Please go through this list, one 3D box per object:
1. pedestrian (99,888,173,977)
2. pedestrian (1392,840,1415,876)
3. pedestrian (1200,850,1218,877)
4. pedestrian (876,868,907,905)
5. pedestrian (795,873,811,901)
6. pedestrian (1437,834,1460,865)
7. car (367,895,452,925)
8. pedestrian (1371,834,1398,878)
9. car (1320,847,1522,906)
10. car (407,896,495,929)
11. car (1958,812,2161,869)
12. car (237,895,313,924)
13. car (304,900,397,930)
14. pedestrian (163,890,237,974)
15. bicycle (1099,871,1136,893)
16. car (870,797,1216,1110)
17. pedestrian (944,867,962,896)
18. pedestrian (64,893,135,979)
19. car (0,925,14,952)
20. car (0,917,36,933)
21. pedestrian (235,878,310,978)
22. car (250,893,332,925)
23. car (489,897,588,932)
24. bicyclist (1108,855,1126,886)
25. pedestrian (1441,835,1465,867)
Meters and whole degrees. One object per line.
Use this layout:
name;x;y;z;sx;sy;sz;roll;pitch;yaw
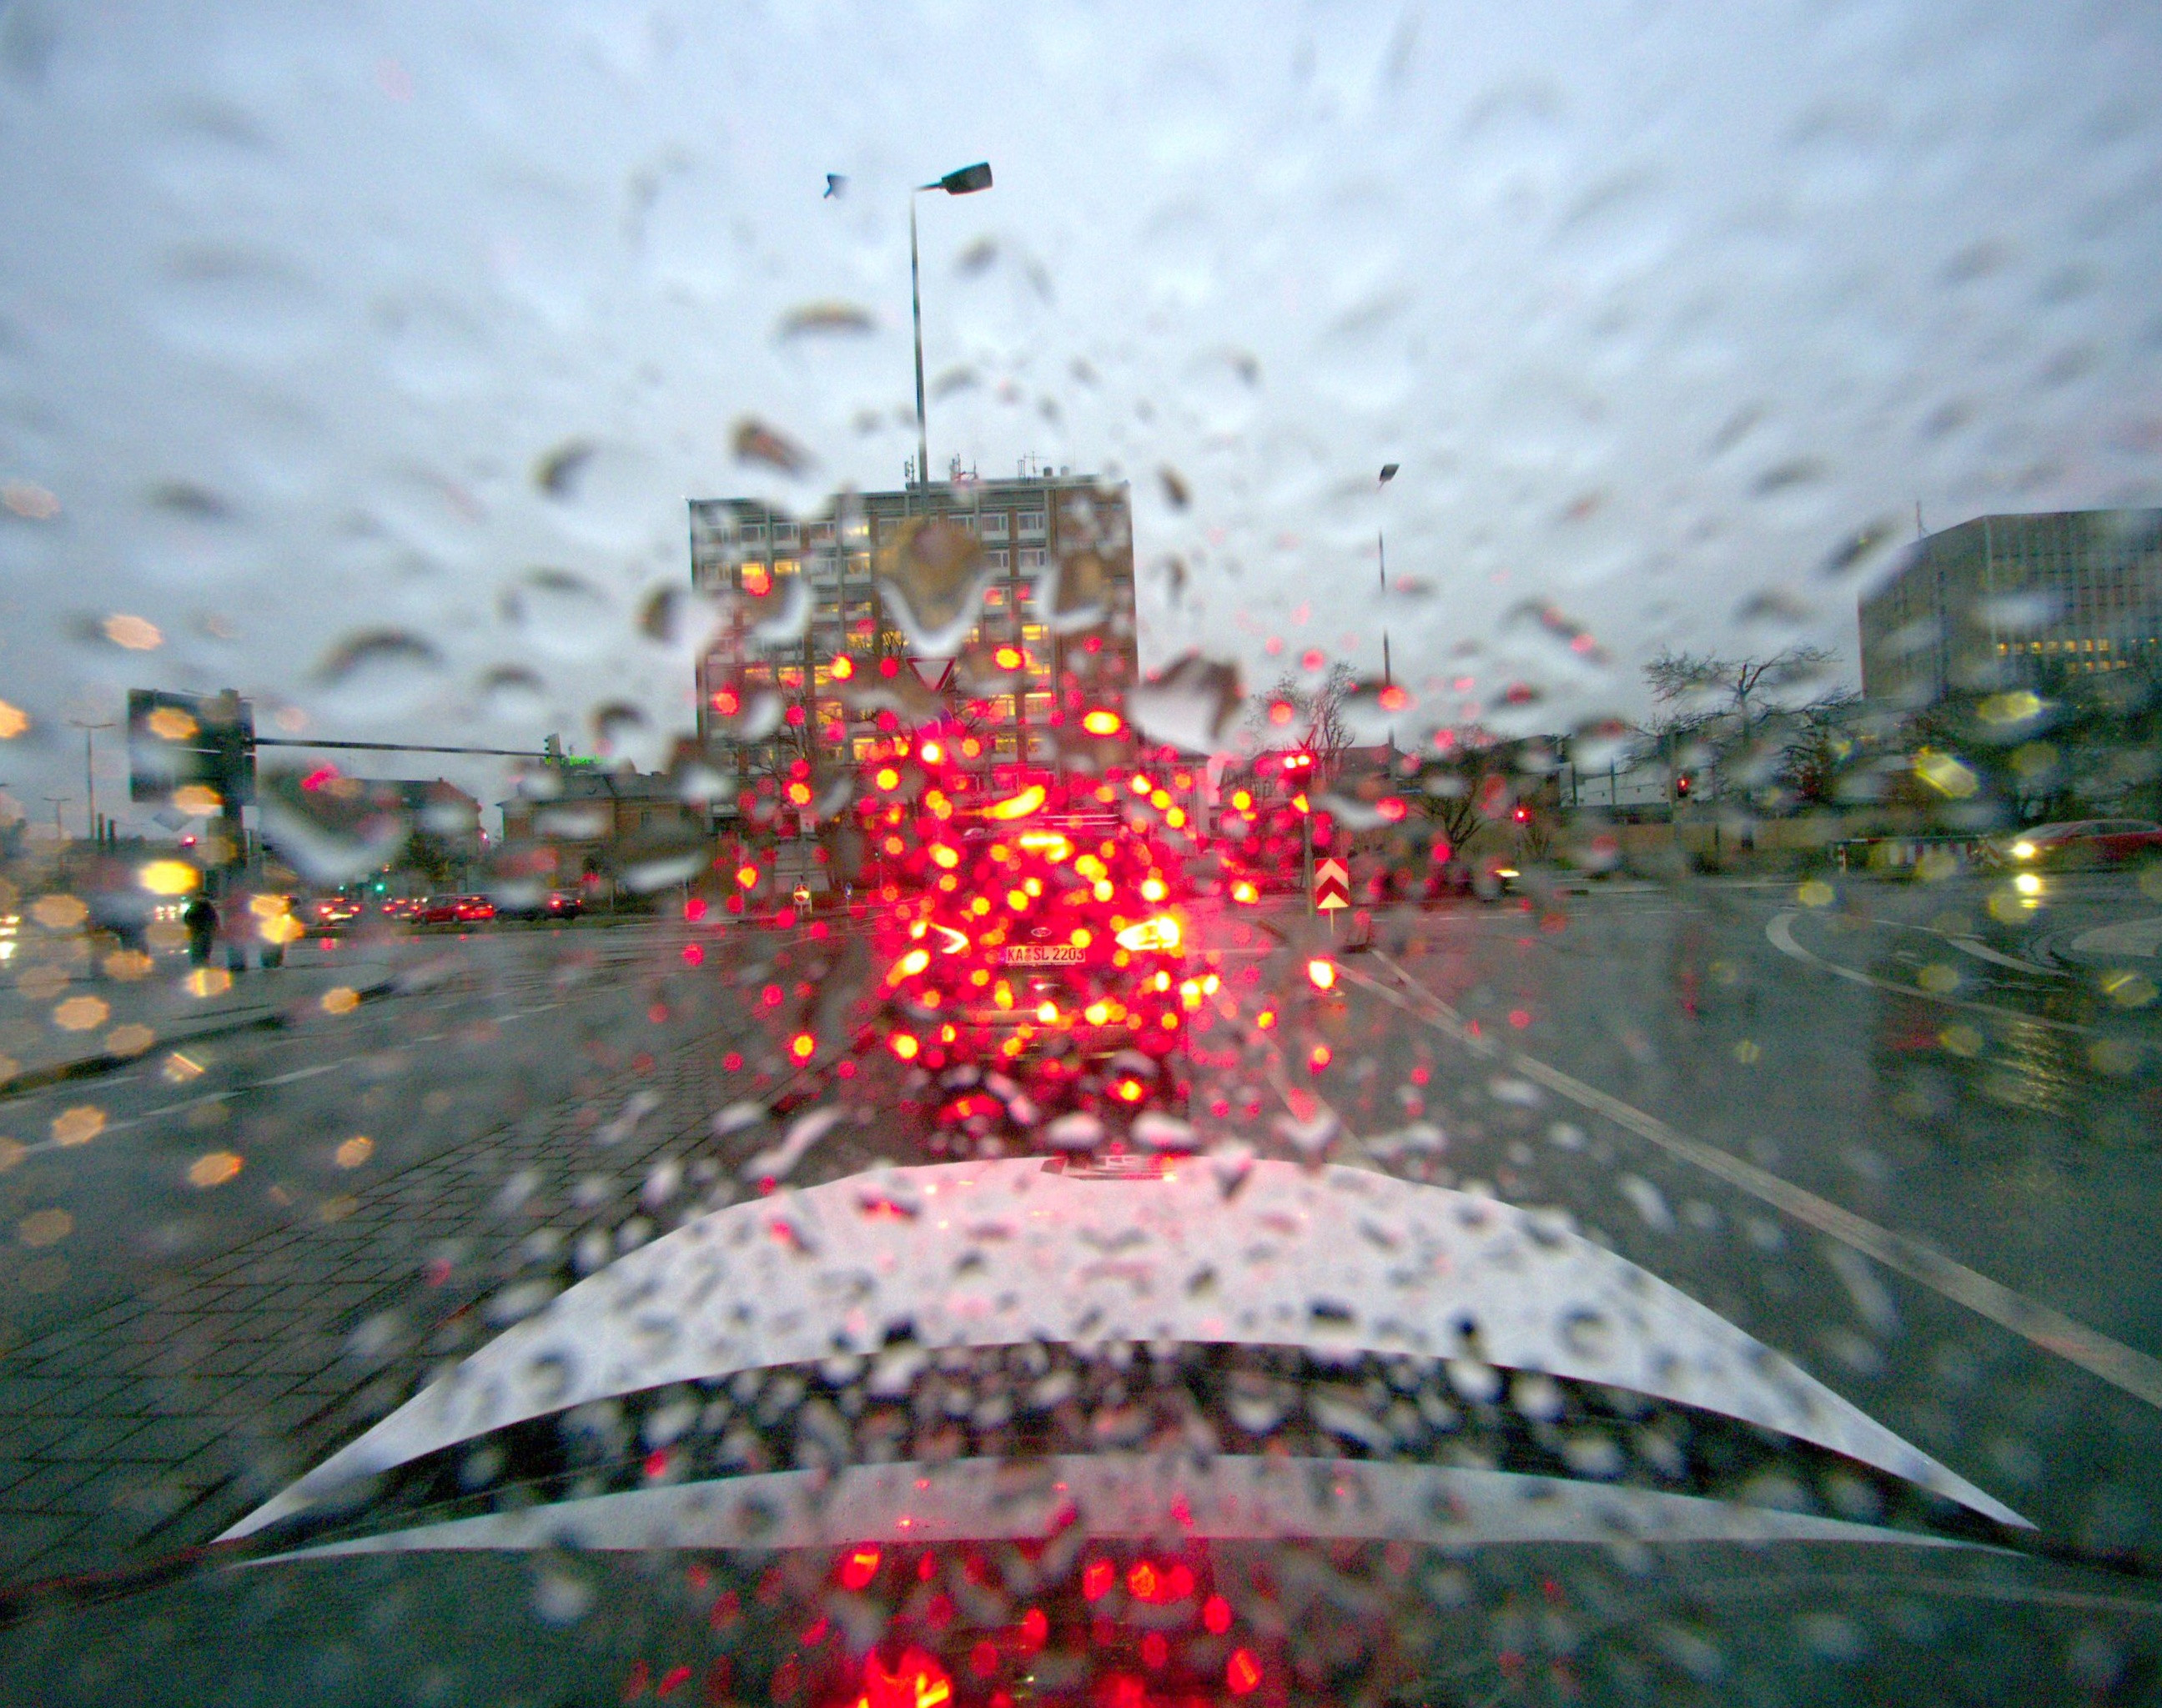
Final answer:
pedestrian;-20.821;1.711;17.952;0.733;1.838;0.674;-3;0;-11
pedestrian;16.748;0.192;42.283;0.988;1.799;0.924;-3;0;19
pedestrian;8.138;0.617;51.806;0.712;1.628;0.767;-3;0;43
pedestrian;-10.059;1.718;43.264;0.992;1.842;1.146;-3;2;26
pedestrian;-17.417;2.074;50.995;0.634;1.688;0.640;-3;0;18
pedestrian;18.929;-0.234;41.924;0.886;1.533;0.890;-3;0;16
car;-38.397;3.176;46.624;1.496;1.461;3.453;-1;-1;31
pedestrian;15.141;0.086;40.665;0.892;2.113;0.884;-3;0;-7
car;8.919;0.596;21.802;4.653;1.302;1.945;-3;-1;11
car;-33.323;3.056;43.080;3.954;1.568;1.836;-1;-1;20
car;29.871;-0.393;24.637;4.390;1.477;1.814;-3;-1;6
car;-53.088;3.617;53.669;1.505;1.702;3.411;-1;-1;39
car;-43.814;3.623;48.923;1.582;1.482;3.840;-1;-1;31
pedestrian;-19.538;1.706;18.078;0.653;1.755;0.856;-3;0;18
bicycle;1.976;1.508;44.084;1.867;1.048;0.663;-3;0;19
car;-0.159;0.589;6.691;1.986;1.789;4.001;0;-1;2
pedestrian;-7.536;1.622;47.919;0.754;1.628;0.559;-3;0;14
pedestrian;-21.533;1.783;17.876;0.741;1.770;0.546;-3;0;-12
car;-63.170;4.931;46.465;4.535;1.477;1.822;-3;-1;25
car;-117.884;7.866;90.182;1.747;1.509;3.954;-3;0;-38
pedestrian;-17.314;1.552;17.468;0.996;2.021;0.792;-3;0;-39
car;-51.152;3.533;52.777;1.649;1.826;3.609;-1;-1;39
car;-26.970;2.988;40.535;3.959;1.568;1.833;-1;-1;13
bicyclist;1.951;0.893;44.075;0.679;1.599;0.663;-3;0;19
pedestrian;18.602;-0.179;40.735;0.917;1.533;1.048;-3;0;18
